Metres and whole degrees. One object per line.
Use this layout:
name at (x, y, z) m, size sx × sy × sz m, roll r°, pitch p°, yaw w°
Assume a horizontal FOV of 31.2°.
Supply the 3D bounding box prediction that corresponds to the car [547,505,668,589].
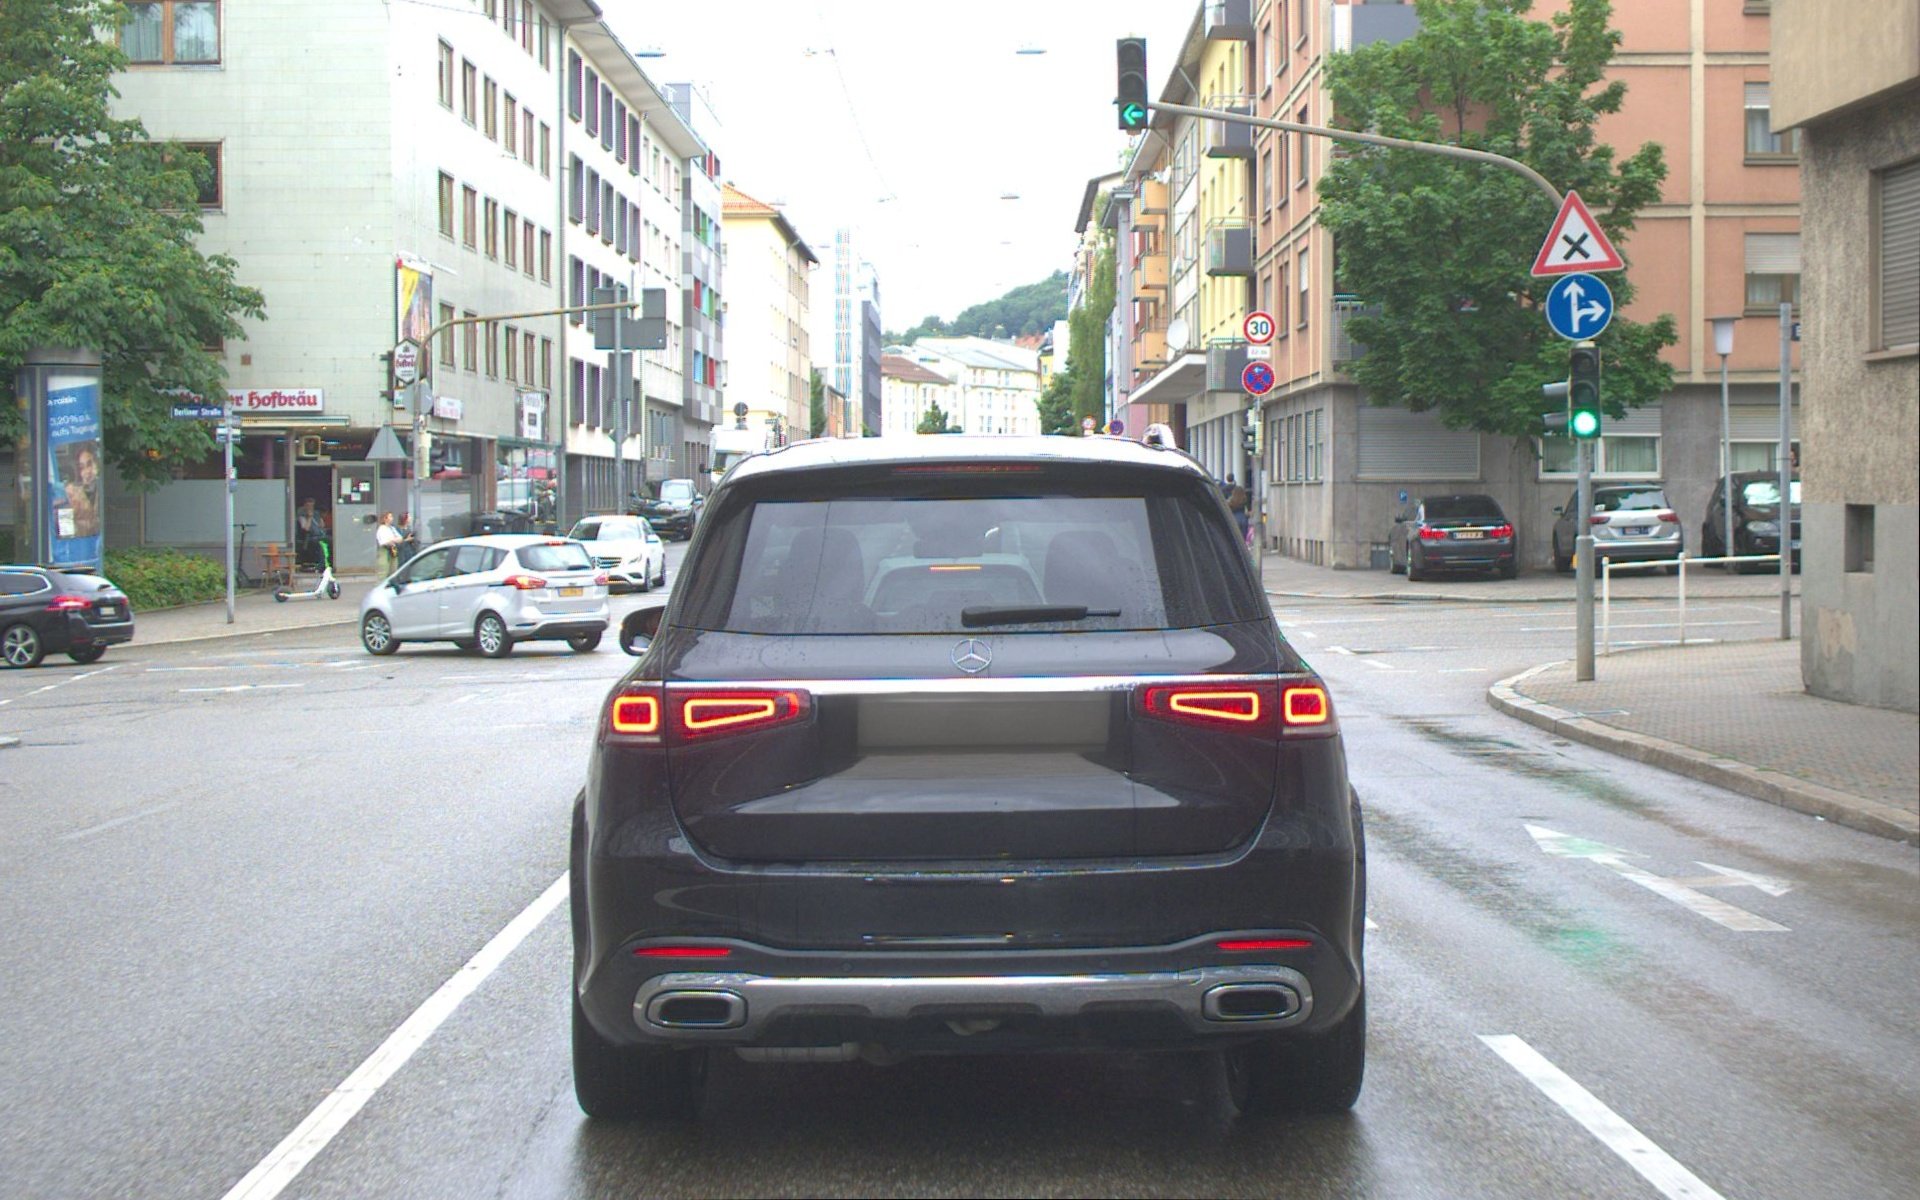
car at (-6.830, -1.057, 67.002) m, size 1.844 × 1.507 × 4.000 m, roll -2°, pitch 2°, yaw 1°

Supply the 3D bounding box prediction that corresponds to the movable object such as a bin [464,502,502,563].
movable object such as a bin at (-10.429, -1.480, 75.192) m, size 0.697 × 1.311 × 0.782 m, roll 1°, pitch 0°, yaw -1°

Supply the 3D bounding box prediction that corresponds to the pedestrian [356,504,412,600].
pedestrian at (-10.163, -0.860, 60.656) m, size 0.708 × 1.641 × 0.759 m, roll -2°, pitch 5°, yaw -36°

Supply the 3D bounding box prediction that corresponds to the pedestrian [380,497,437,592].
pedestrian at (-9.859, -1.004, 61.438) m, size 0.708 × 1.641 × 0.759 m, roll -2°, pitch 5°, yaw -36°

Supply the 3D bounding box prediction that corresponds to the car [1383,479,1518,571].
car at (8.717, -1.359, 61.440) m, size 1.844 × 1.549 × 4.796 m, roll -1°, pitch 2°, yaw 2°

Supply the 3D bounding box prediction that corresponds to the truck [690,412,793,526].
truck at (-7.720, -4.594, 122.317) m, size 2.807 × 3.819 × 8.144 m, roll 1°, pitch 1°, yaw 2°

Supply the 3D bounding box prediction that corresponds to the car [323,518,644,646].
car at (-6.428, -0.243, 46.123) m, size 4.260 × 1.594 × 2.022 m, roll 0°, pitch 2°, yaw 44°

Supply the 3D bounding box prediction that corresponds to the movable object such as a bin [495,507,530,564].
movable object such as a bin at (-10.404, -1.506, 79.973) m, size 0.697 × 1.311 × 0.782 m, roll 1°, pitch 0°, yaw -1°

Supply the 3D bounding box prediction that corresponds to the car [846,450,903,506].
car at (-3.516, -5.035, 142.167) m, size 2.065 × 2.233 × 4.620 m, roll -1°, pitch 1°, yaw 2°

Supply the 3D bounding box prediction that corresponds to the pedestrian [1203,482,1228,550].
pedestrian at (5.954, -1.965, 80.198) m, size 0.520 × 1.533 × 0.569 m, roll 1°, pitch 5°, yaw 1°

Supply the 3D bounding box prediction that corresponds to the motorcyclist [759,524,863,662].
motorcyclist at (-1.603, -0.084, 36.918) m, size 0.904 × 1.448 × 0.747 m, roll -2°, pitch 1°, yaw -19°

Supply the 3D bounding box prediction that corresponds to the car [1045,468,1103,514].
car at (4.227, -4.000, 126.719) m, size 2.016 × 1.557 × 5.154 m, roll 1°, pitch 1°, yaw 3°

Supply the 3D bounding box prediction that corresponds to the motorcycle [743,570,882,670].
motorcycle at (-1.601, 0.199, 36.943) m, size 0.862 × 1.003 × 2.252 m, roll -2°, pitch 1°, yaw -19°

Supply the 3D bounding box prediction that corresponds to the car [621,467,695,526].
car at (-8.579, -2.931, 97.870) m, size 1.723 × 1.597 × 4.000 m, roll -1°, pitch 1°, yaw 0°

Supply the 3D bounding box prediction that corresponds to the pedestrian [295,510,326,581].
pedestrian at (-12.894, -1.090, 68.289) m, size 0.518 × 1.395 × 0.578 m, roll 1°, pitch 0°, yaw -3°

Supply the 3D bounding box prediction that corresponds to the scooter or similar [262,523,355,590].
scooter or similar at (-11.776, -0.789, 62.114) m, size 1.556 × 1.186 × 0.501 m, roll 1°, pitch 0°, yaw -29°

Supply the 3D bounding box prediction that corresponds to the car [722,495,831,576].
car at (-3.575, -1.301, 67.681) m, size 1.844 × 1.484 × 4.000 m, roll -2°, pitch 2°, yaw 1°

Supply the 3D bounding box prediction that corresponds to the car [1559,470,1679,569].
car at (11.687, -1.448, 61.062) m, size 1.987 × 1.655 × 3.999 m, roll -1°, pitch 2°, yaw 10°

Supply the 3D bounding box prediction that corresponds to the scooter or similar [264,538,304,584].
scooter or similar at (-12.567, -0.728, 63.895) m, size 0.458 × 0.840 × 1.323 m, roll 1°, pitch 1°, yaw -22°

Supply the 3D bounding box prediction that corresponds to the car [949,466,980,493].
car at (0.297, -7.671, 218.989) m, size 1.844 × 1.668 × 4.000 m, roll -1°, pitch 1°, yaw 1°

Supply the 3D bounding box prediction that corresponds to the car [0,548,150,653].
car at (-13.784, -0.007, 48.526) m, size 4.259 × 1.448 × 1.723 m, roll 0°, pitch 0°, yaw 4°

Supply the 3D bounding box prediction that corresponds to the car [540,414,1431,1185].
car at (-0.026, 0.429, 10.256) m, size 2.020 × 1.733 × 4.748 m, roll -1°, pitch 1°, yaw -2°

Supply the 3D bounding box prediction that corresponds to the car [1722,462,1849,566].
car at (14.492, -1.527, 60.515) m, size 1.987 × 1.713 × 3.998 m, roll -1°, pitch 1°, yaw 12°

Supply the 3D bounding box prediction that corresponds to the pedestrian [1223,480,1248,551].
pedestrian at (6.140, -1.883, 76.570) m, size 0.479 × 1.560 × 0.558 m, roll 1°, pitch 5°, yaw 1°

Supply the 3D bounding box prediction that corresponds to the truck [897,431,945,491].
truck at (-2.646, -9.543, 236.489) m, size 2.807 × 3.819 × 8.144 m, roll 1°, pitch 1°, yaw 2°
